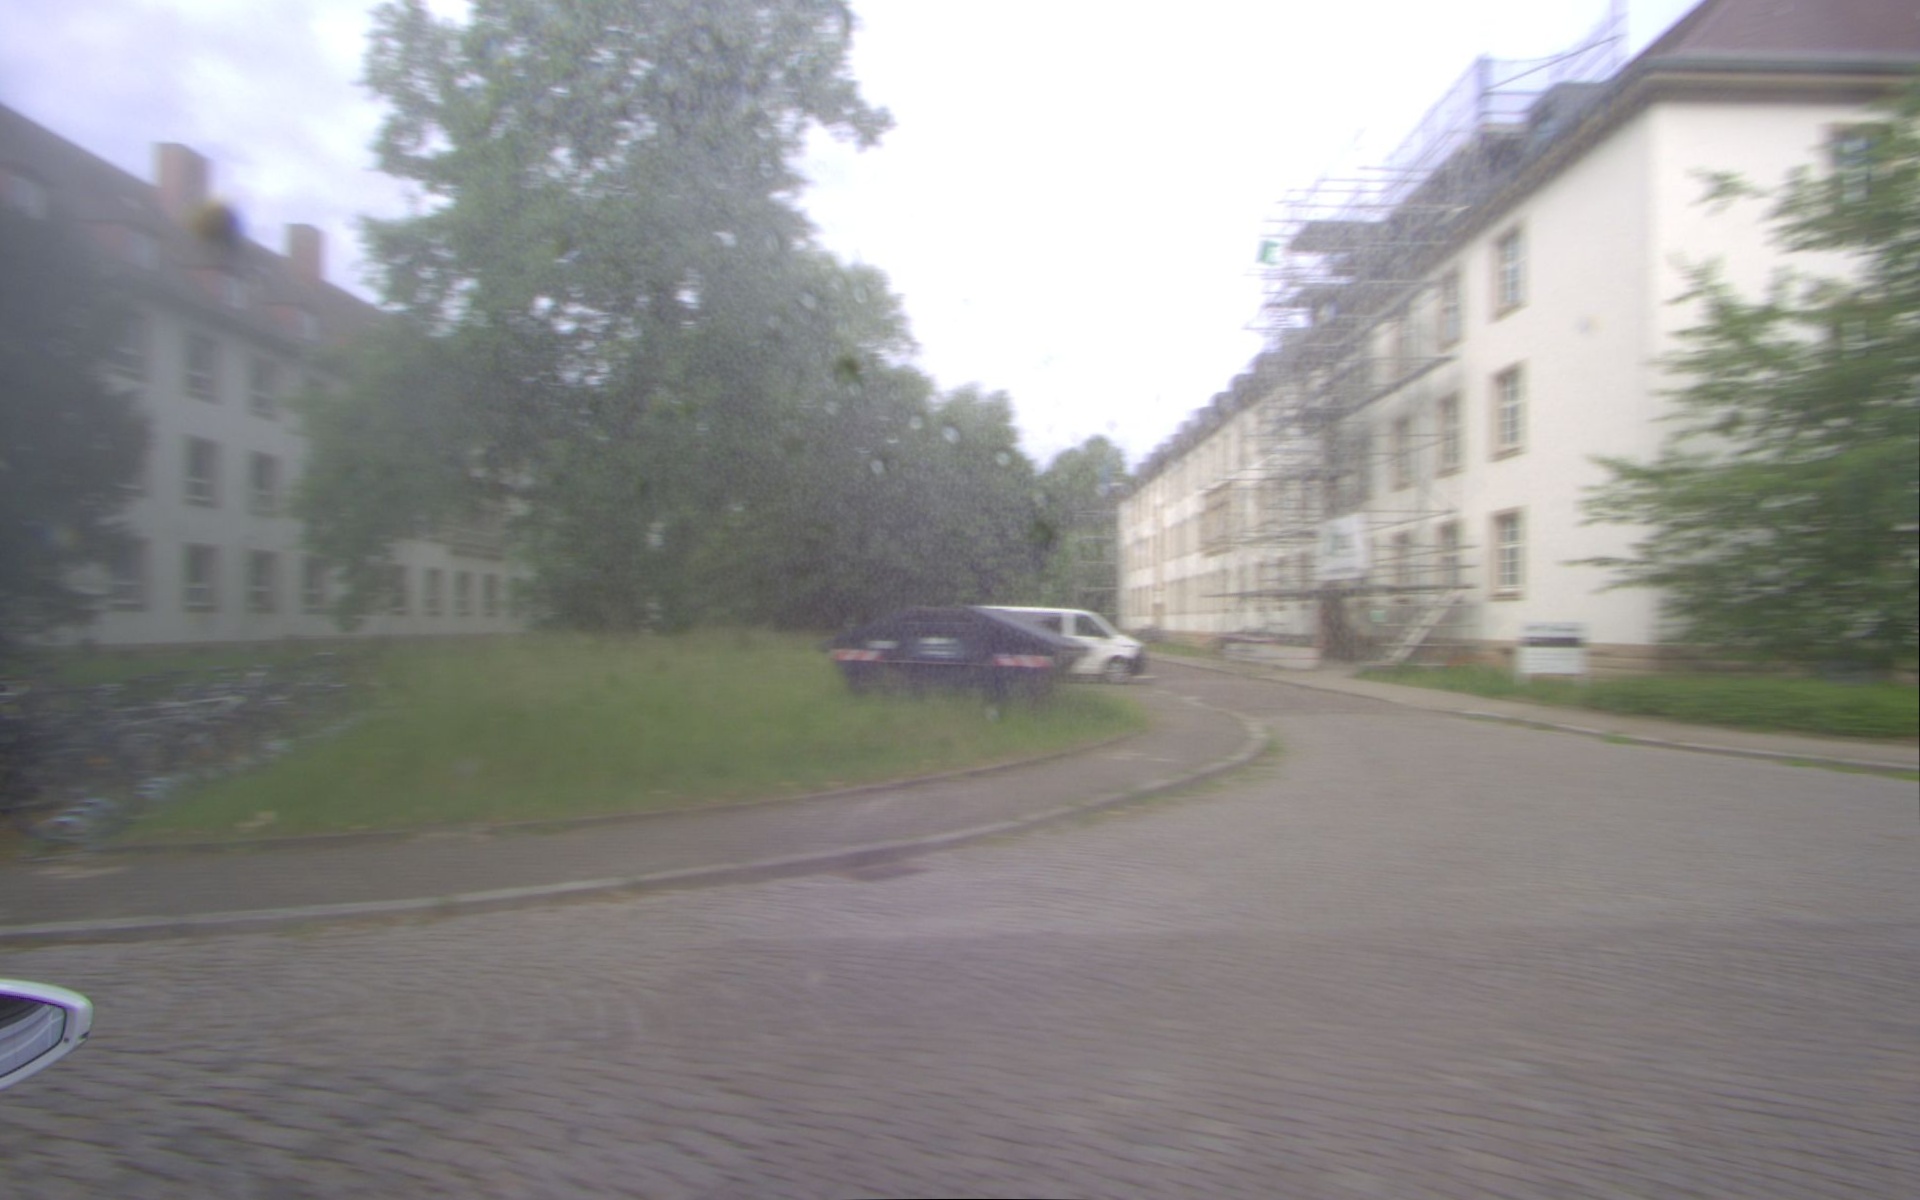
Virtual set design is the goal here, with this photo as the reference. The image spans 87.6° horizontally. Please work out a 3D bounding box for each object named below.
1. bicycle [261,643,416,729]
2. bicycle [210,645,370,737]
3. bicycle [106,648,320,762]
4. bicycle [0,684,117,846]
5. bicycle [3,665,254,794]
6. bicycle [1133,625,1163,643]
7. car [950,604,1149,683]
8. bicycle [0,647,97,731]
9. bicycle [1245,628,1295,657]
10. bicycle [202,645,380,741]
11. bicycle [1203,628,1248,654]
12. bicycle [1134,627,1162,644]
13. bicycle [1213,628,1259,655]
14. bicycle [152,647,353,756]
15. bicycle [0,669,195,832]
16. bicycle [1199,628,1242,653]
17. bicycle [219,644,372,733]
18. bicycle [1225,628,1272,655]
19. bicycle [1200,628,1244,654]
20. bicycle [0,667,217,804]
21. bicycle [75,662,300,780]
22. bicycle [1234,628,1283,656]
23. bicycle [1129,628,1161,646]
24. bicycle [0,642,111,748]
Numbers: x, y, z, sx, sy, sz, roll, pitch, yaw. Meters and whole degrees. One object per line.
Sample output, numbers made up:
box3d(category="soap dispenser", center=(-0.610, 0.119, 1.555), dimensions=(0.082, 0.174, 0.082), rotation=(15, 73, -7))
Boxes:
box3d(category="bicycle", center=(-8.511, 1.163, 13.777), dimensions=(1.734, 1.126, 0.477), rotation=(1, -1, -16))
box3d(category="bicycle", center=(-8.448, 1.136, 12.670), dimensions=(1.621, 1.126, 0.442), rotation=(1, -1, -11))
box3d(category="bicycle", center=(-7.792, 1.072, 10.513), dimensions=(1.734, 1.126, 0.477), rotation=(1, -1, -16))
box3d(category="bicycle", center=(-6.712, 1.121, 6.673), dimensions=(1.600, 1.021, 0.475), rotation=(0, -1, -31))
box3d(category="bicycle", center=(-7.303, 1.116, 8.867), dimensions=(1.638, 1.021, 0.477), rotation=(-1, -1, -16))
box3d(category="bicycle", center=(11.943, 2.157, 63.587), dimensions=(1.830, 1.109, 0.510), rotation=(0, -1, 23))
box3d(category="car", center=(2.323, 1.164, 27.030), dimensions=(5.173, 2.022, 1.969), rotation=(0, -1, 0))
box3d(category="bicycle", center=(-12.312, 1.139, 12.952), dimensions=(1.653, 1.055, 0.551), rotation=(1, -1, -14))
box3d(category="bicycle", center=(12.253, 1.668, 39.574), dimensions=(1.826, 1.109, 0.511), rotation=(0, -1, 7))
box3d(category="bicycle", center=(-8.167, 1.122, 12.290), dimensions=(1.734, 1.126, 0.477), rotation=(1, -1, -16))
box3d(category="bicycle", center=(11.698, 1.803, 44.140), dimensions=(1.826, 1.109, 0.511), rotation=(0, -1, 7))
box3d(category="bicycle", center=(12.335, 2.320, 65.751), dimensions=(1.826, 1.109, 0.511), rotation=(0, -1, 7))
box3d(category="bicycle", center=(11.769, 1.759, 42.711), dimensions=(1.826, 1.109, 0.511), rotation=(0, -1, 7))
box3d(category="bicycle", center=(-7.750, 1.090, 11.048), dimensions=(1.736, 1.126, 0.476), rotation=(1, -1, -22))
box3d(category="bicycle", center=(-6.686, 1.094, 7.382), dimensions=(1.600, 1.088, 0.475), rotation=(0, -1, -31))
box3d(category="bicycle", center=(11.728, 1.833, 45.105), dimensions=(1.826, 1.109, 0.511), rotation=(0, -1, 7))
box3d(category="bicycle", center=(-8.709, 1.147, 13.161), dimensions=(1.621, 1.126, 0.442), rotation=(1, -1, -11))
box3d(category="bicycle", center=(12.026, 1.732, 41.716), dimensions=(1.826, 1.109, 0.511), rotation=(0, -1, 7))
box3d(category="bicycle", center=(11.668, 1.818, 44.656), dimensions=(1.826, 1.109, 0.511), rotation=(0, -1, 7))
box3d(category="bicycle", center=(-7.196, 1.098, 8.254), dimensions=(1.638, 1.021, 0.477), rotation=(-1, -1, -16))
box3d(category="bicycle", center=(-7.385, 1.138, 9.640), dimensions=(1.638, 1.021, 0.477), rotation=(-1, -1, -16))
box3d(category="bicycle", center=(11.938, 1.680, 40.122), dimensions=(1.826, 1.109, 0.511), rotation=(0, -1, 7))
box3d(category="bicycle", center=(11.405, 2.279, 61.720), dimensions=(1.830, 1.109, 0.510), rotation=(0, -1, 23))
box3d(category="bicycle", center=(-10.911, 1.078, 11.505), dimensions=(1.721, 1.186, 0.551), rotation=(0, -1, -8))
